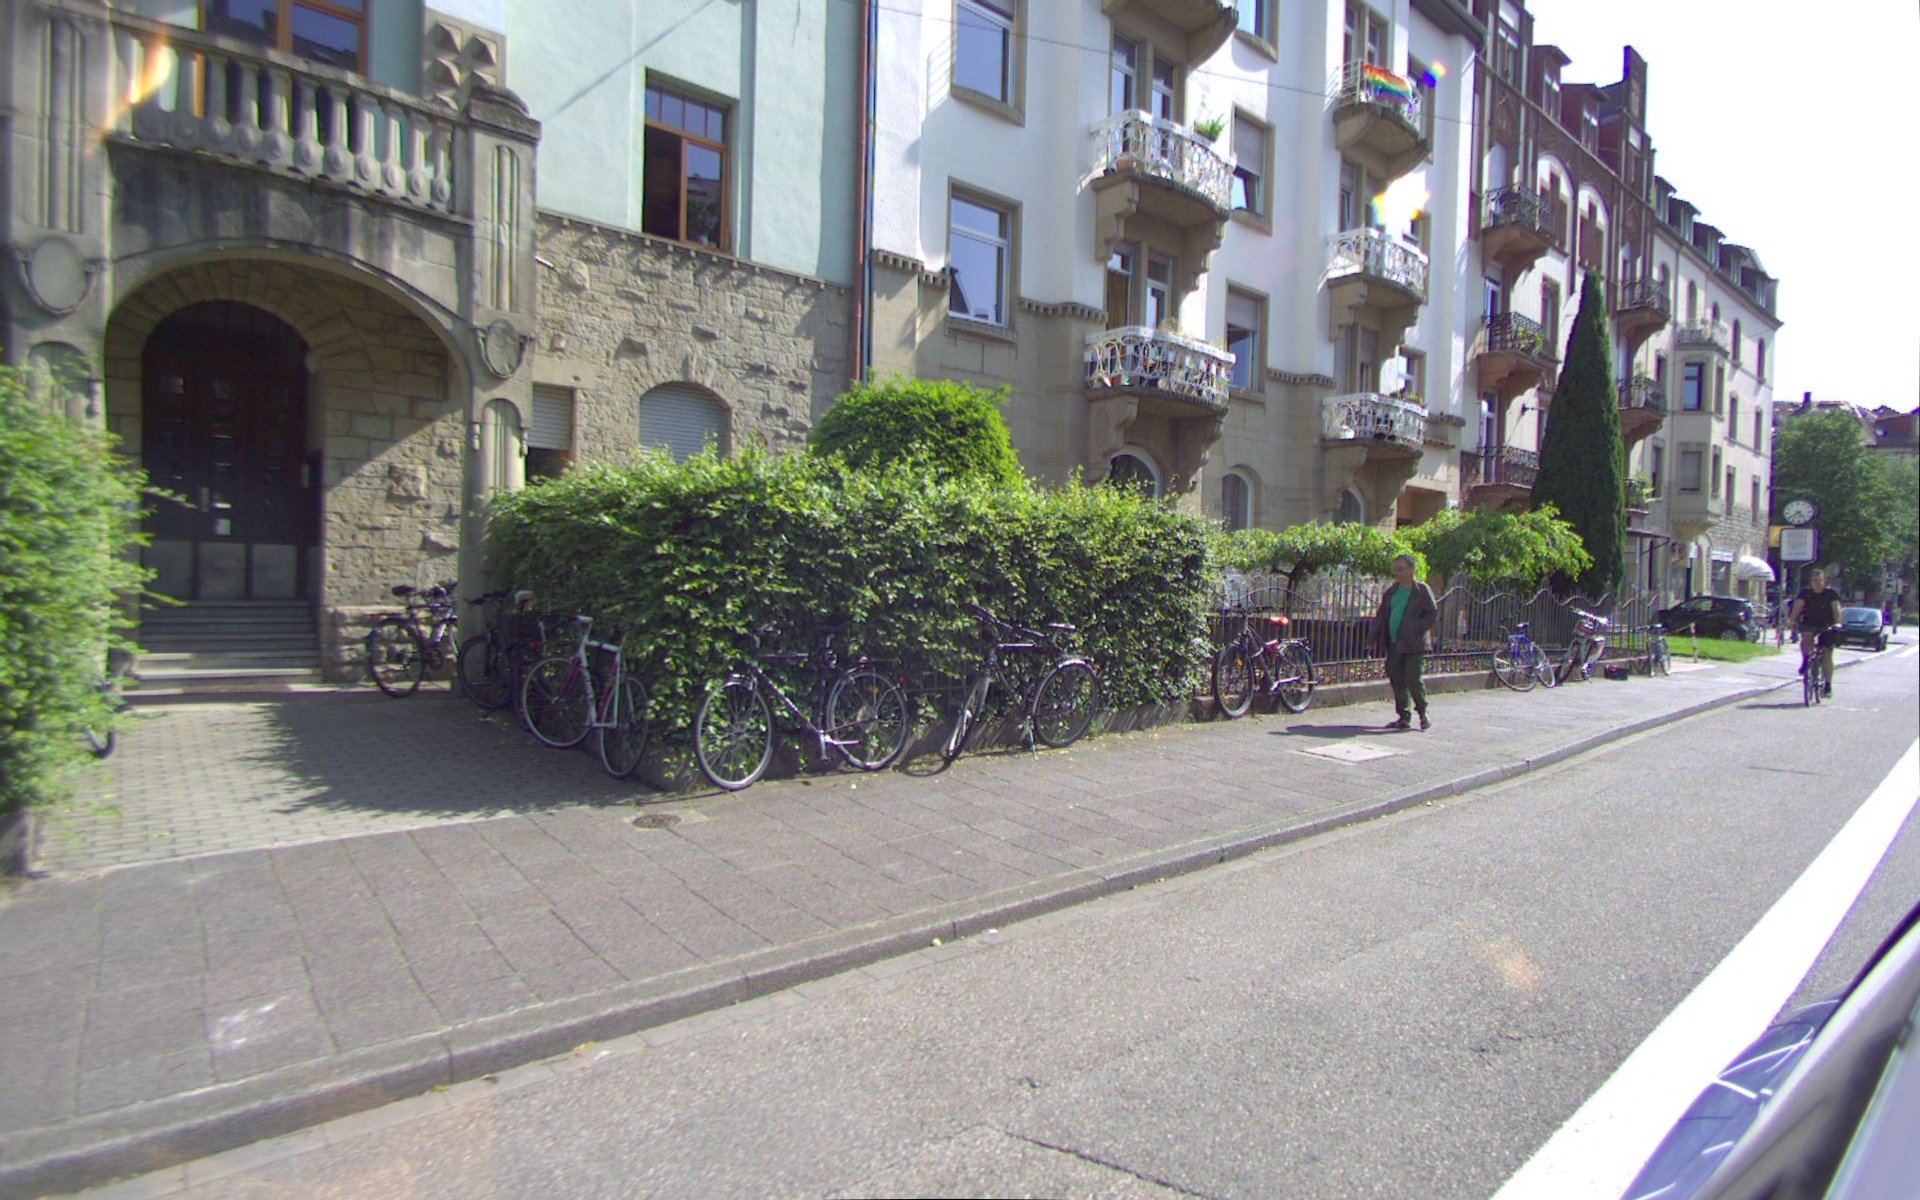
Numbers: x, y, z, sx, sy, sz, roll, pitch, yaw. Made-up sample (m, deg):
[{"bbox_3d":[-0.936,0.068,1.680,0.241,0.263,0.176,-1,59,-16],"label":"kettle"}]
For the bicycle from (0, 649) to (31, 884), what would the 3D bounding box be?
[{"bbox_3d":[-4.508,0.651,3.669,1.638,0.918,0.274,2,3,-41],"label":"bicycle"}]

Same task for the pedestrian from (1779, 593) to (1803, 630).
[{"bbox_3d":[31.975,0.437,38.949,0.570,1.341,0.436,9,6,42],"label":"pedestrian"}]

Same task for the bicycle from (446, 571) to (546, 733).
[{"bbox_3d":[-3.777,0.370,8.186,0.350,1.128,1.513,0,4,-39],"label":"bicycle"}]

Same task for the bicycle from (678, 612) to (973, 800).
[{"bbox_3d":[-0.820,0.608,6.550,1.839,1.000,0.613,0,3,-41],"label":"bicycle"}]

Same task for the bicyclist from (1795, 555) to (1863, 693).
[{"bbox_3d":[13.006,0.342,15.140,1.110,1.973,0.608,0,-1,-41],"label":"bicyclist"}]

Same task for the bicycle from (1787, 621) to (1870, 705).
[{"bbox_3d":[13.042,0.913,15.184,1.804,1.057,0.617,-2,6,-41],"label":"bicycle"}]

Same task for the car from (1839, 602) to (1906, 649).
[{"bbox_3d":[33.487,0.916,37.131,2.747,1.517,1.516,1,4,-43],"label":"car"}]

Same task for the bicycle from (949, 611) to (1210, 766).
[{"bbox_3d":[1.012,0.630,8.033,2.321,1.007,0.612,0,4,-41],"label":"bicycle"}]

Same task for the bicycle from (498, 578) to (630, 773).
[{"bbox_3d":[-2.778,0.462,7.010,0.350,1.128,1.512,0,4,-41],"label":"bicycle"}]

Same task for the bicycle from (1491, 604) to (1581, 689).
[{"bbox_3d":[8.307,0.647,14.565,1.811,1.136,0.452,1,3,-40],"label":"bicycle"}]

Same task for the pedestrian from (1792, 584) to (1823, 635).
[{"bbox_3d":[32.307,0.354,38.578,0.659,1.862,0.860,11,7,41],"label":"pedestrian"}]

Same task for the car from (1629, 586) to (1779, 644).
[{"bbox_3d":[23.621,0.443,32.208,1.935,1.542,3.412,1,3,-38],"label":"car"}]

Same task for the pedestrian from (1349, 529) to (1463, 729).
[{"bbox_3d":[4.449,0.260,10.117,0.788,1.884,0.571,5,3,43],"label":"pedestrian"}]

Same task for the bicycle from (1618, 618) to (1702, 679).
[{"bbox_3d":[12.901,0.852,18.598,3.015,0.972,0.600,1,5,-44],"label":"bicycle"}]

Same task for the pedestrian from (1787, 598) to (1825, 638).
[{"bbox_3d":[42.009,0.896,50.257,0.834,1.787,1.015,2,8,-39],"label":"pedestrian"}]

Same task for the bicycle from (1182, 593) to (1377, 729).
[{"bbox_3d":[3.375,0.559,10.523,2.472,1.246,0.741,0,2,-41],"label":"bicycle"}]

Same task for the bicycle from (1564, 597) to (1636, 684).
[{"bbox_3d":[10.062,0.615,15.896,1.813,1.276,0.451,1,3,-44],"label":"bicycle"}]

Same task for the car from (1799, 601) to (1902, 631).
[{"bbox_3d":[48.708,0.845,55.488,1.854,1.436,4.005,2,1,-5],"label":"car"}]

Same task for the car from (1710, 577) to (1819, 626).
[{"bbox_3d":[50.371,0.083,63.604,2.354,2.829,6.655,2,0,10],"label":"car"}]

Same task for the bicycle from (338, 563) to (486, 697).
[{"bbox_3d":[-5.025,0.231,9.371,0.350,1.128,1.510,3,2,8],"label":"bicycle"}]
